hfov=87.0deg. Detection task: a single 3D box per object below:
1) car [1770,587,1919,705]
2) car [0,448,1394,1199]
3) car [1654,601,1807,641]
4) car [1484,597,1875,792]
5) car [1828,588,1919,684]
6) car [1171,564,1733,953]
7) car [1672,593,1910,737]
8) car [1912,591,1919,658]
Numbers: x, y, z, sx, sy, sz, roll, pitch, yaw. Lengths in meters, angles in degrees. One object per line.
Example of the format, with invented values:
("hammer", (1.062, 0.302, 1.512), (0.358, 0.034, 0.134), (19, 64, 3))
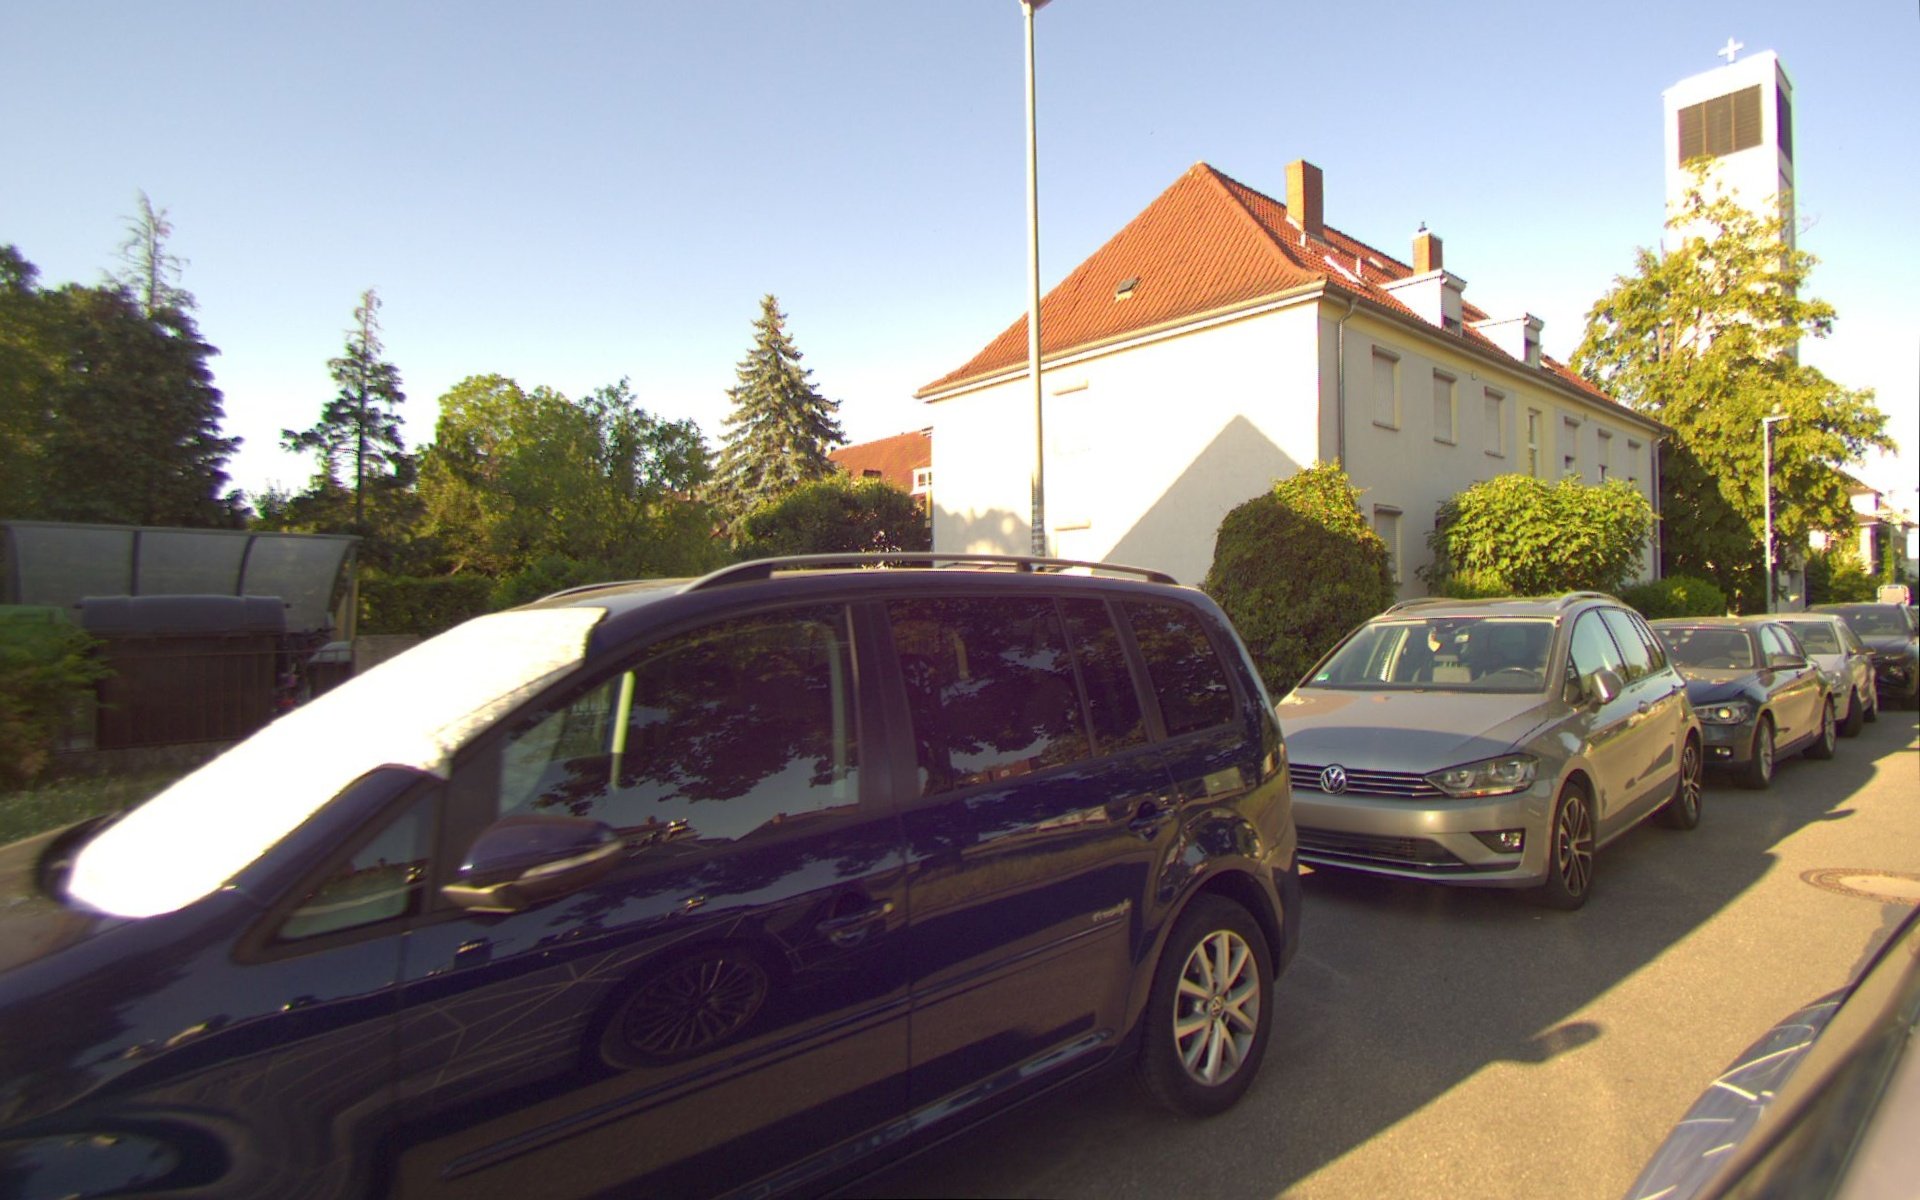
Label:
("car", (14.972, 0.698, 16.513), (4.734, 1.679, 1.857), (1, -2, -41))
("car", (-0.829, 0.660, 2.675), (4.682, 1.656, 1.768), (-1, -2, -42))
("car", (32.785, 0.903, 43.186), (1.969, 1.504, 4.854), (-4, 1, -41))
("car", (7.175, 0.767, 9.921), (4.480, 1.481, 1.997), (0, -2, -40))
("car", (19.013, 0.684, 20.141), (4.540, 1.743, 1.935), (1, -4, -41))
("car", (3.286, 0.674, 6.274), (4.343, 1.581, 1.726), (0, -2, -44))
("car", (10.846, 0.771, 13.105), (4.137, 1.569, 1.728), (0, -5, -43))
("car", (27.484, 0.592, 27.482), (4.945, 1.754, 1.834), (0, -3, -42))
